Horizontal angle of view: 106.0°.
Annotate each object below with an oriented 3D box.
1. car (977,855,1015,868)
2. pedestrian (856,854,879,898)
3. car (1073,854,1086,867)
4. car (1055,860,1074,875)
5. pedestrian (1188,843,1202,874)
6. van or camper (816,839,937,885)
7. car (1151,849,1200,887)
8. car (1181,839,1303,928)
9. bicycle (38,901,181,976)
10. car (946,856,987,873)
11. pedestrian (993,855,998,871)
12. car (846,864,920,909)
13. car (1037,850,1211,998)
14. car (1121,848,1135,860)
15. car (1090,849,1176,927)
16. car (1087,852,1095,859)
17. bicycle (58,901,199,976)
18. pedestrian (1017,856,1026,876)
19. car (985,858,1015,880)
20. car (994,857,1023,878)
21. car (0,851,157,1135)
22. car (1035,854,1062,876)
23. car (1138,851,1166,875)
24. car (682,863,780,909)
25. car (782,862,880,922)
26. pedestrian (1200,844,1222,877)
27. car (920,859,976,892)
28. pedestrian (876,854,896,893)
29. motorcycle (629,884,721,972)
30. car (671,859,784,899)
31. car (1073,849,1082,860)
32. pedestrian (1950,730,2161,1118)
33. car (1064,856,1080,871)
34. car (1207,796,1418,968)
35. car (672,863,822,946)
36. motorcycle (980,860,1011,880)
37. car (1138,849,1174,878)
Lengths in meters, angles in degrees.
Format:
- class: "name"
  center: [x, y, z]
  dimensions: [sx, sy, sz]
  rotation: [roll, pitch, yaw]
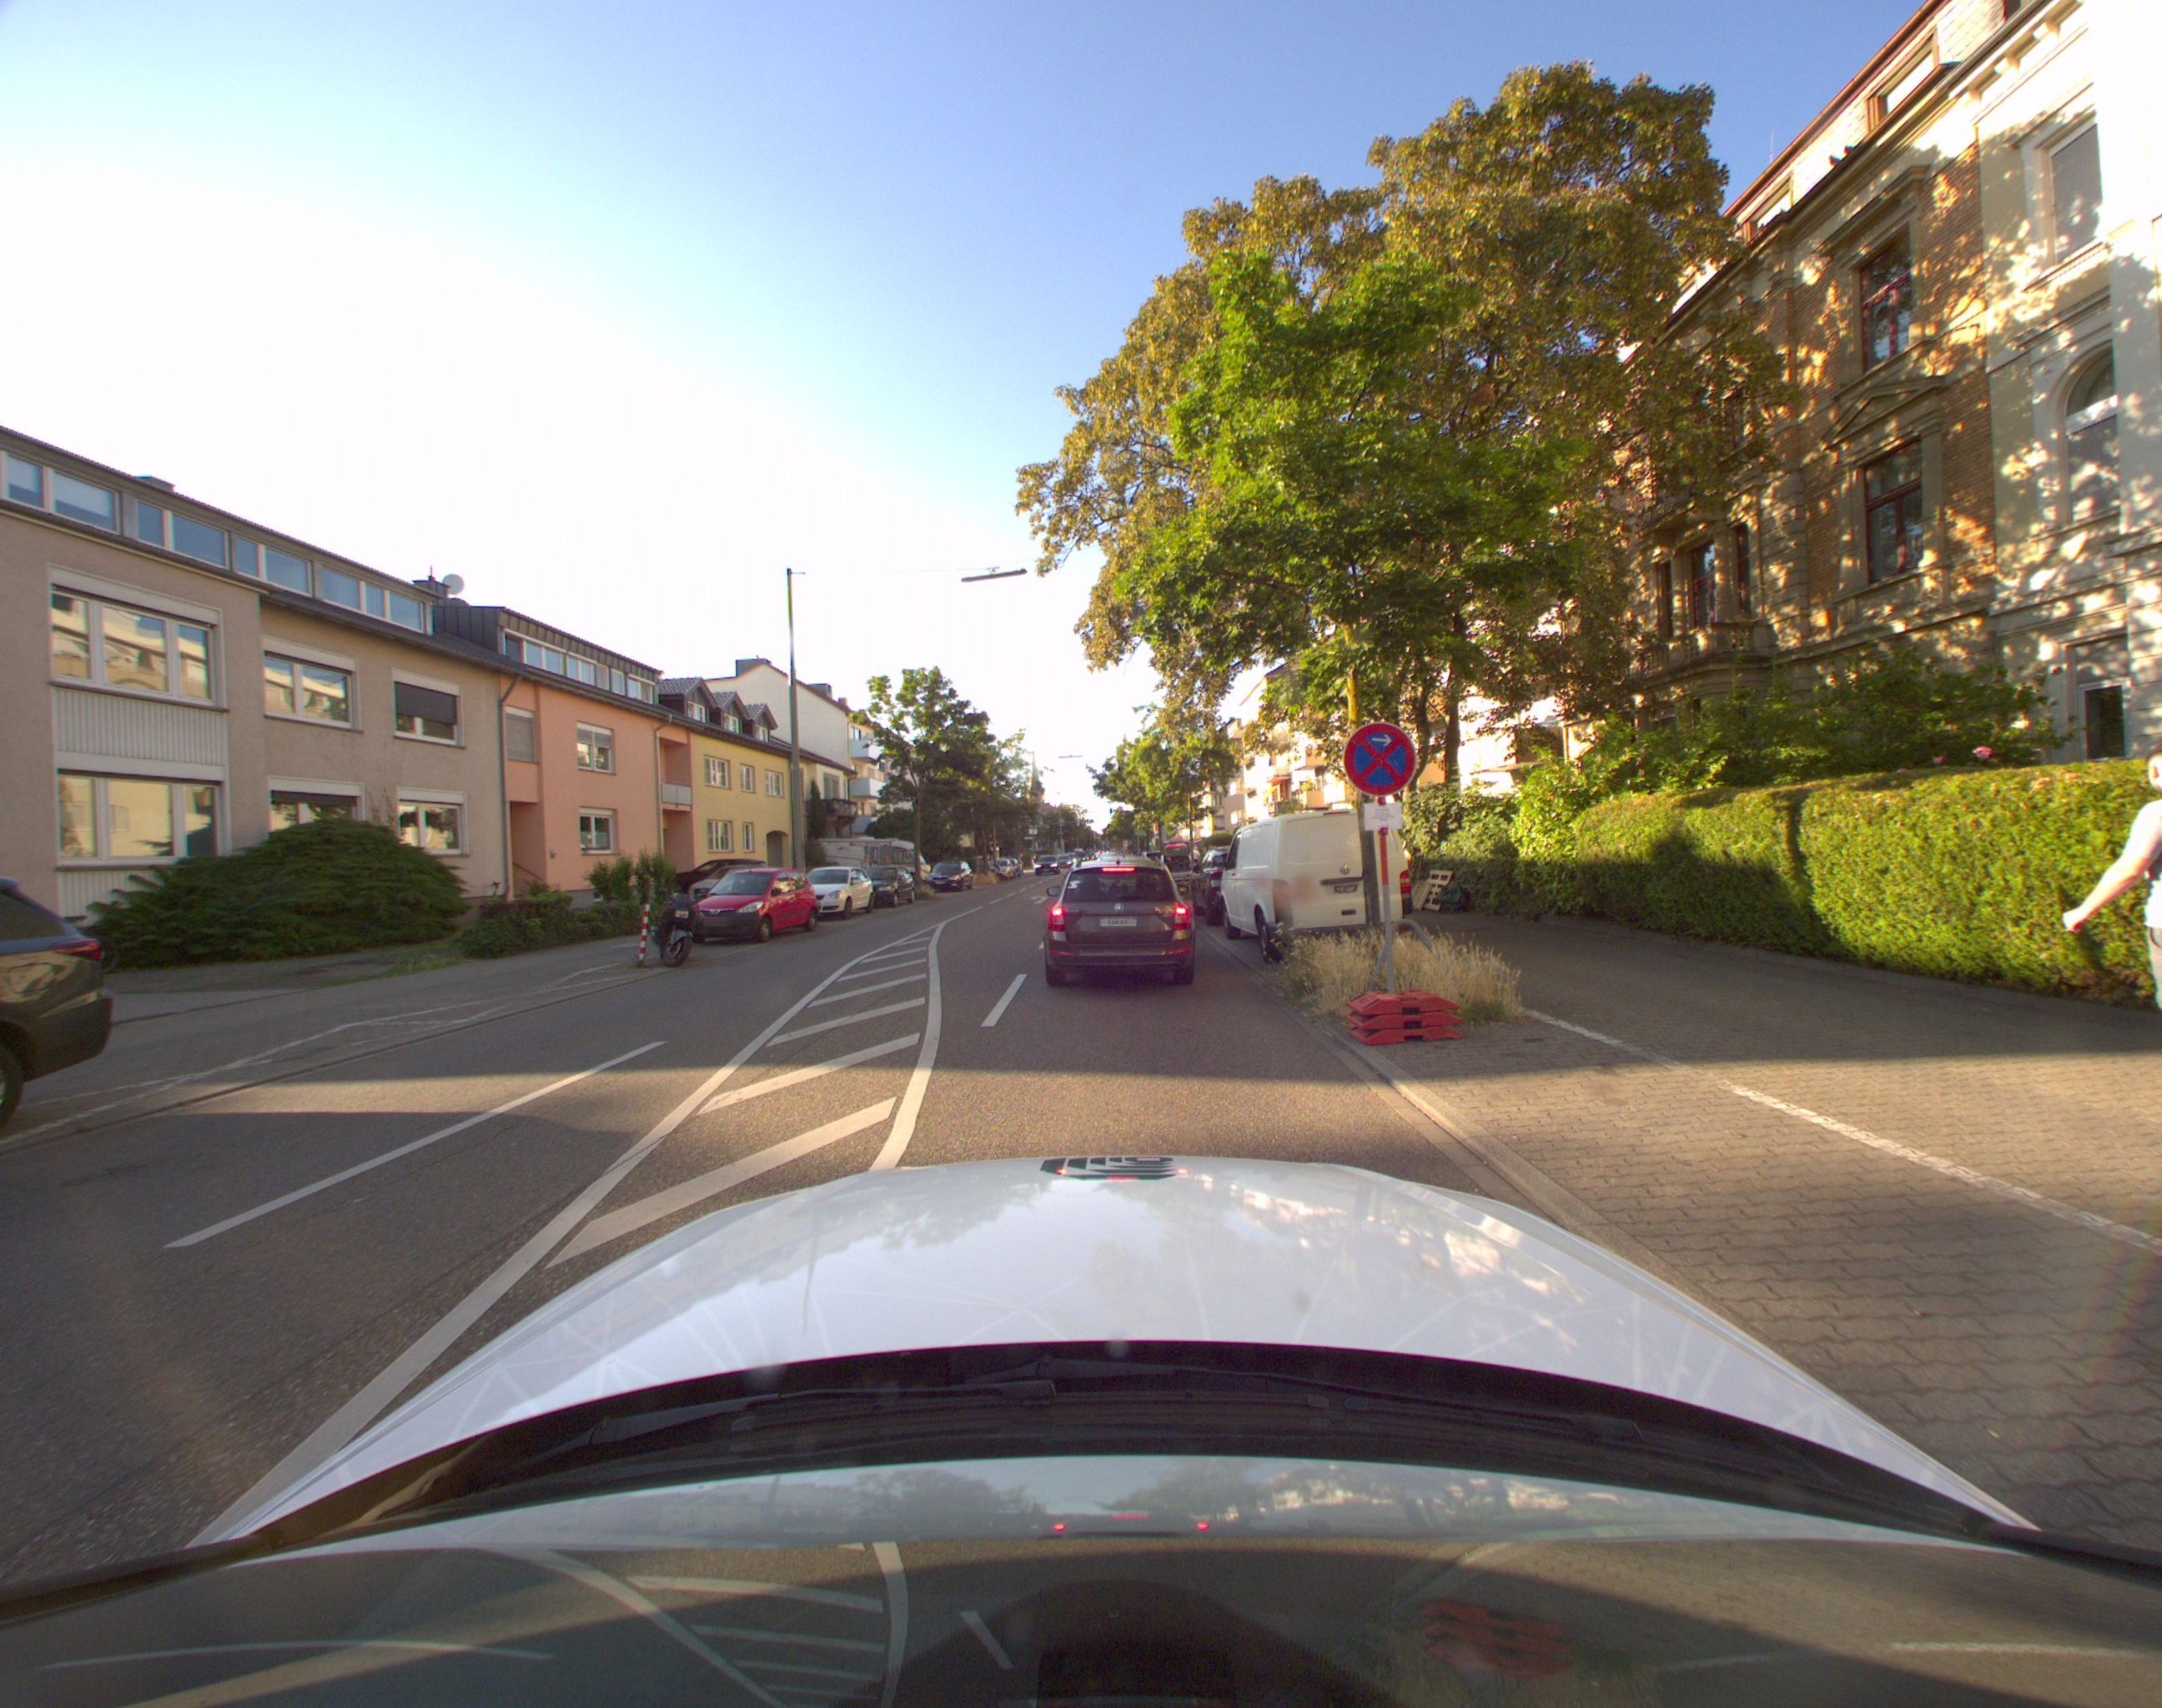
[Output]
- class: "car"
  center: [-10.819, 0.942, 104.182]
  dimensions: [4.617, 1.535, 1.862]
  rotation: [-1, 0, 1]
- class: "pedestrian"
  center: [-8.998, 0.929, 34.321]
  dimensions: [0.710, 1.792, 0.506]
  rotation: [-3, 0, 4]
- class: "car"
  center: [-0.273, 1.105, 140.556]
  dimensions: [1.986, 1.908, 4.965]
  rotation: [-4, 0, 2]
- class: "car"
  center: [-1.767, 1.434, 87.892]
  dimensions: [1.754, 1.452, 4.536]
  rotation: [-4, 0, 2]
- class: "pedestrian"
  center: [6.578, 0.260, 47.012]
  dimensions: [0.660, 1.749, 0.773]
  rotation: [-4, 0, 2]
- class: "van or camper"
  center: [-12.483, 0.471, 49.989]
  dimensions: [6.774, 2.773, 2.352]
  rotation: [0, 0, 0]
- class: "car"
  center: [4.172, 0.572, 36.415]
  dimensions: [1.702, 1.480, 4.270]
  rotation: [-4, 0, 2]
- class: "car"
  center: [3.433, 0.575, 18.173]
  dimensions: [1.849, 1.603, 4.313]
  rotation: [-5, 0, 1]
- class: "bicycle"
  center: [-16.616, 1.410, 13.989]
  dimensions: [0.331, 1.086, 1.711]
  rotation: [-3, 0, 2]
- class: "car"
  center: [-13.744, 1.275, 98.011]
  dimensions: [4.617, 1.811, 1.862]
  rotation: [-2, 0, 1]
- class: "pedestrian"
  center: [-10.288, 1.090, 98.465]
  dimensions: [0.447, 1.797, 0.504]
  rotation: [-3, 0, 2]
- class: "car"
  center: [-6.902, 1.101, 28.728]
  dimensions: [1.537, 1.396, 3.667]
  rotation: [-2, 0, 2]
- class: "car"
  center: [0.507, 0.721, 10.588]
  dimensions: [1.766, 1.489, 4.312]
  rotation: [-1, 0, 1]
- class: "car"
  center: [7.176, 0.044, 123.822]
  dimensions: [1.984, 1.772, 4.005]
  rotation: [0, 0, 5]
- class: "car"
  center: [1.165, 0.697, 18.617]
  dimensions: [1.730, 1.571, 4.003]
  rotation: [0, 0, 3]
- class: "car"
  center: [2.350, 0.465, 198.035]
  dimensions: [1.823, 1.579, 4.002]
  rotation: [-3, 0, 2]
- class: "bicycle"
  center: [-16.260, 1.407, 13.960]
  dimensions: [0.331, 1.086, 1.711]
  rotation: [-3, 0, 2]
- class: "pedestrian"
  center: [-6.049, 1.173, 83.060]
  dimensions: [0.777, 1.987, 0.821]
  rotation: [-3, 0, 2]
- class: "car"
  center: [-5.662, 1.046, 57.441]
  dimensions: [1.587, 1.470, 3.805]
  rotation: [0, 0, 2]
- class: "car"
  center: [-5.493, 1.016, 62.070]
  dimensions: [1.642, 1.517, 4.076]
  rotation: [-1, 0, 2]
- class: "car"
  center: [-7.778, 0.910, 3.605]
  dimensions: [1.881, 1.779, 4.726]
  rotation: [-2, 0, 1]
- class: "car"
  center: [-2.645, 0.889, 66.382]
  dimensions: [1.829, 1.570, 4.001]
  rotation: [-4, -1, 1]
- class: "car"
  center: [4.714, 0.555, 54.426]
  dimensions: [1.696, 1.450, 4.018]
  rotation: [-4, 0, 4]
- class: "car"
  center: [-12.610, 1.113, 29.579]
  dimensions: [1.658, 1.409, 3.756]
  rotation: [-3, 0, 3]
- class: "car"
  center: [-7.236, 1.056, 23.963]
  dimensions: [1.587, 1.523, 3.891]
  rotation: [-2, 0, 1]
- class: "pedestrian"
  center: [6.527, 0.318, 40.944]
  dimensions: [0.748, 1.640, 0.700]
  rotation: [-3, 0, 38]
- class: "car"
  center: [-6.564, 1.034, 40.638]
  dimensions: [1.860, 1.494, 4.520]
  rotation: [-1, 0, 2]
- class: "pedestrian"
  center: [-9.004, 0.889, 37.607]
  dimensions: [0.710, 1.792, 0.572]
  rotation: [-3, 0, 4]
- class: "motorcycle"
  center: [-6.891, 1.199, 13.973]
  dimensions: [1.184, 1.266, 2.352]
  rotation: [-3, 0, -22]
- class: "car"
  center: [-15.049, 1.033, 34.816]
  dimensions: [3.971, 1.636, 1.867]
  rotation: [0, 0, 2]
- class: "car"
  center: [-0.872, 0.063, 196.546]
  dimensions: [1.986, 2.478, 4.002]
  rotation: [-2, 0, 2]
- class: "pedestrian"
  center: [5.335, 0.310, 4.039]
  dimensions: [0.818, 1.774, 1.088]
  rotation: [-2, 0, -2]
- class: "car"
  center: [-1.189, 1.267, 107.688]
  dimensions: [1.799, 1.804, 4.747]
  rotation: [-4, 0, 2]
- class: "car"
  center: [3.289, 0.353, 12.614]
  dimensions: [1.897, 2.103, 4.640]
  rotation: [-2, 0, 0]
- class: "car"
  center: [-7.146, 1.016, 17.794]
  dimensions: [1.585, 1.523, 3.441]
  rotation: [-2, 0, 5]
- class: "motorcycle"
  center: [-5.669, 1.063, 53.729]
  dimensions: [2.028, 1.265, 0.772]
  rotation: [-3, 0, 40]
- class: "car"
  center: [4.444, 0.542, 48.803]
  dimensions: [1.849, 1.581, 4.015]
  rotation: [-4, 0, 1]
